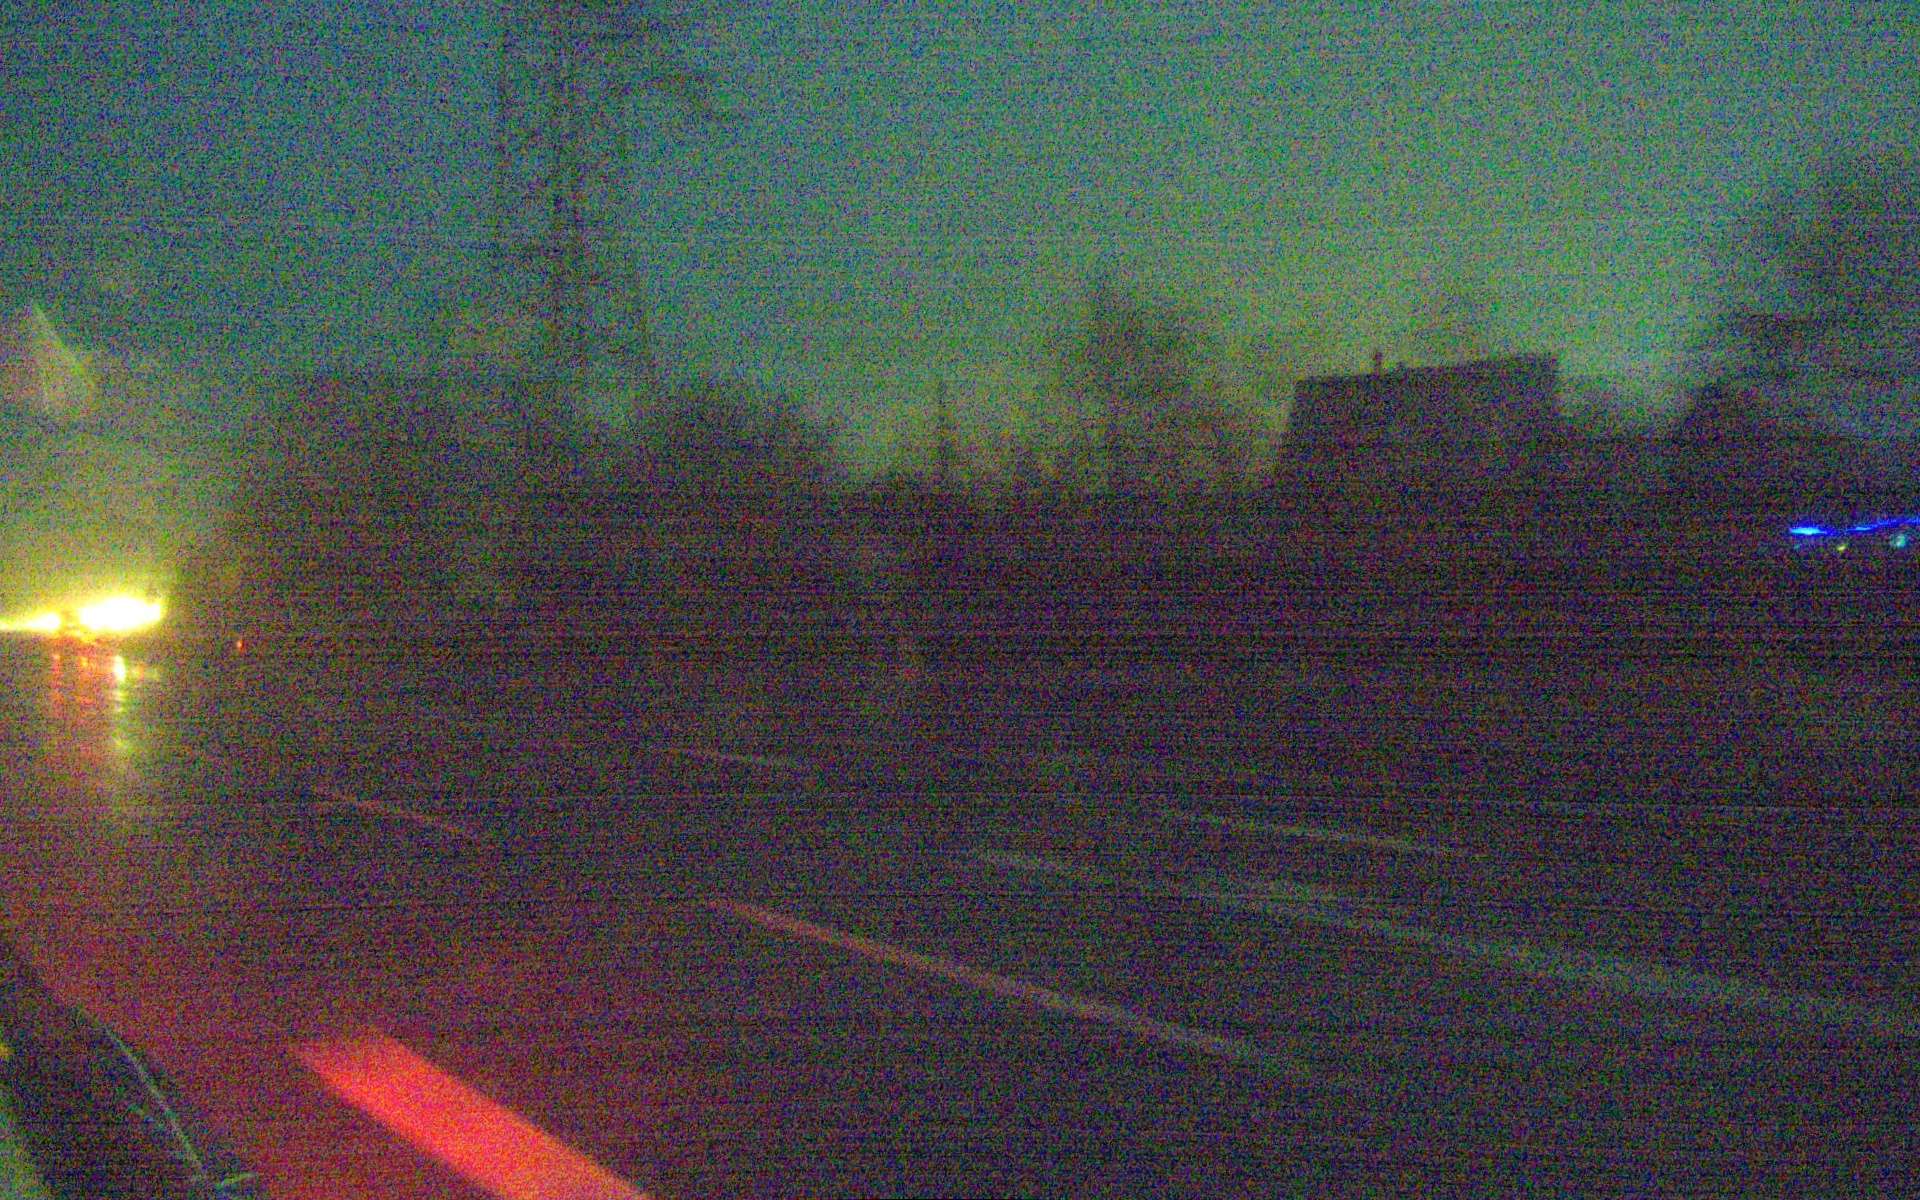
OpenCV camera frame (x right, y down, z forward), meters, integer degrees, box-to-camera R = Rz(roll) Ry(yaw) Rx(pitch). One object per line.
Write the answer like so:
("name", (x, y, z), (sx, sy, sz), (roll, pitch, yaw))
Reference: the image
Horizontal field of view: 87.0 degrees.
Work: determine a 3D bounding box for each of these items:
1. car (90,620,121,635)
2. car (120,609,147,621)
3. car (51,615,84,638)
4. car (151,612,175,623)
("car", (-85.868, 2.716, 101.758), (1.747, 1.399, 4.048), (0, 0, -31))
("car", (-96.248, 1.731, 117.907), (1.746, 1.399, 4.246), (0, 0, -30))
("car", (-72.040, 2.104, 81.714), (1.836, 1.760, 4.971), (0, 0, -39))
("car", (-103.802, 2.225, 131.783), (1.746, 1.399, 4.246), (0, 0, -28))
